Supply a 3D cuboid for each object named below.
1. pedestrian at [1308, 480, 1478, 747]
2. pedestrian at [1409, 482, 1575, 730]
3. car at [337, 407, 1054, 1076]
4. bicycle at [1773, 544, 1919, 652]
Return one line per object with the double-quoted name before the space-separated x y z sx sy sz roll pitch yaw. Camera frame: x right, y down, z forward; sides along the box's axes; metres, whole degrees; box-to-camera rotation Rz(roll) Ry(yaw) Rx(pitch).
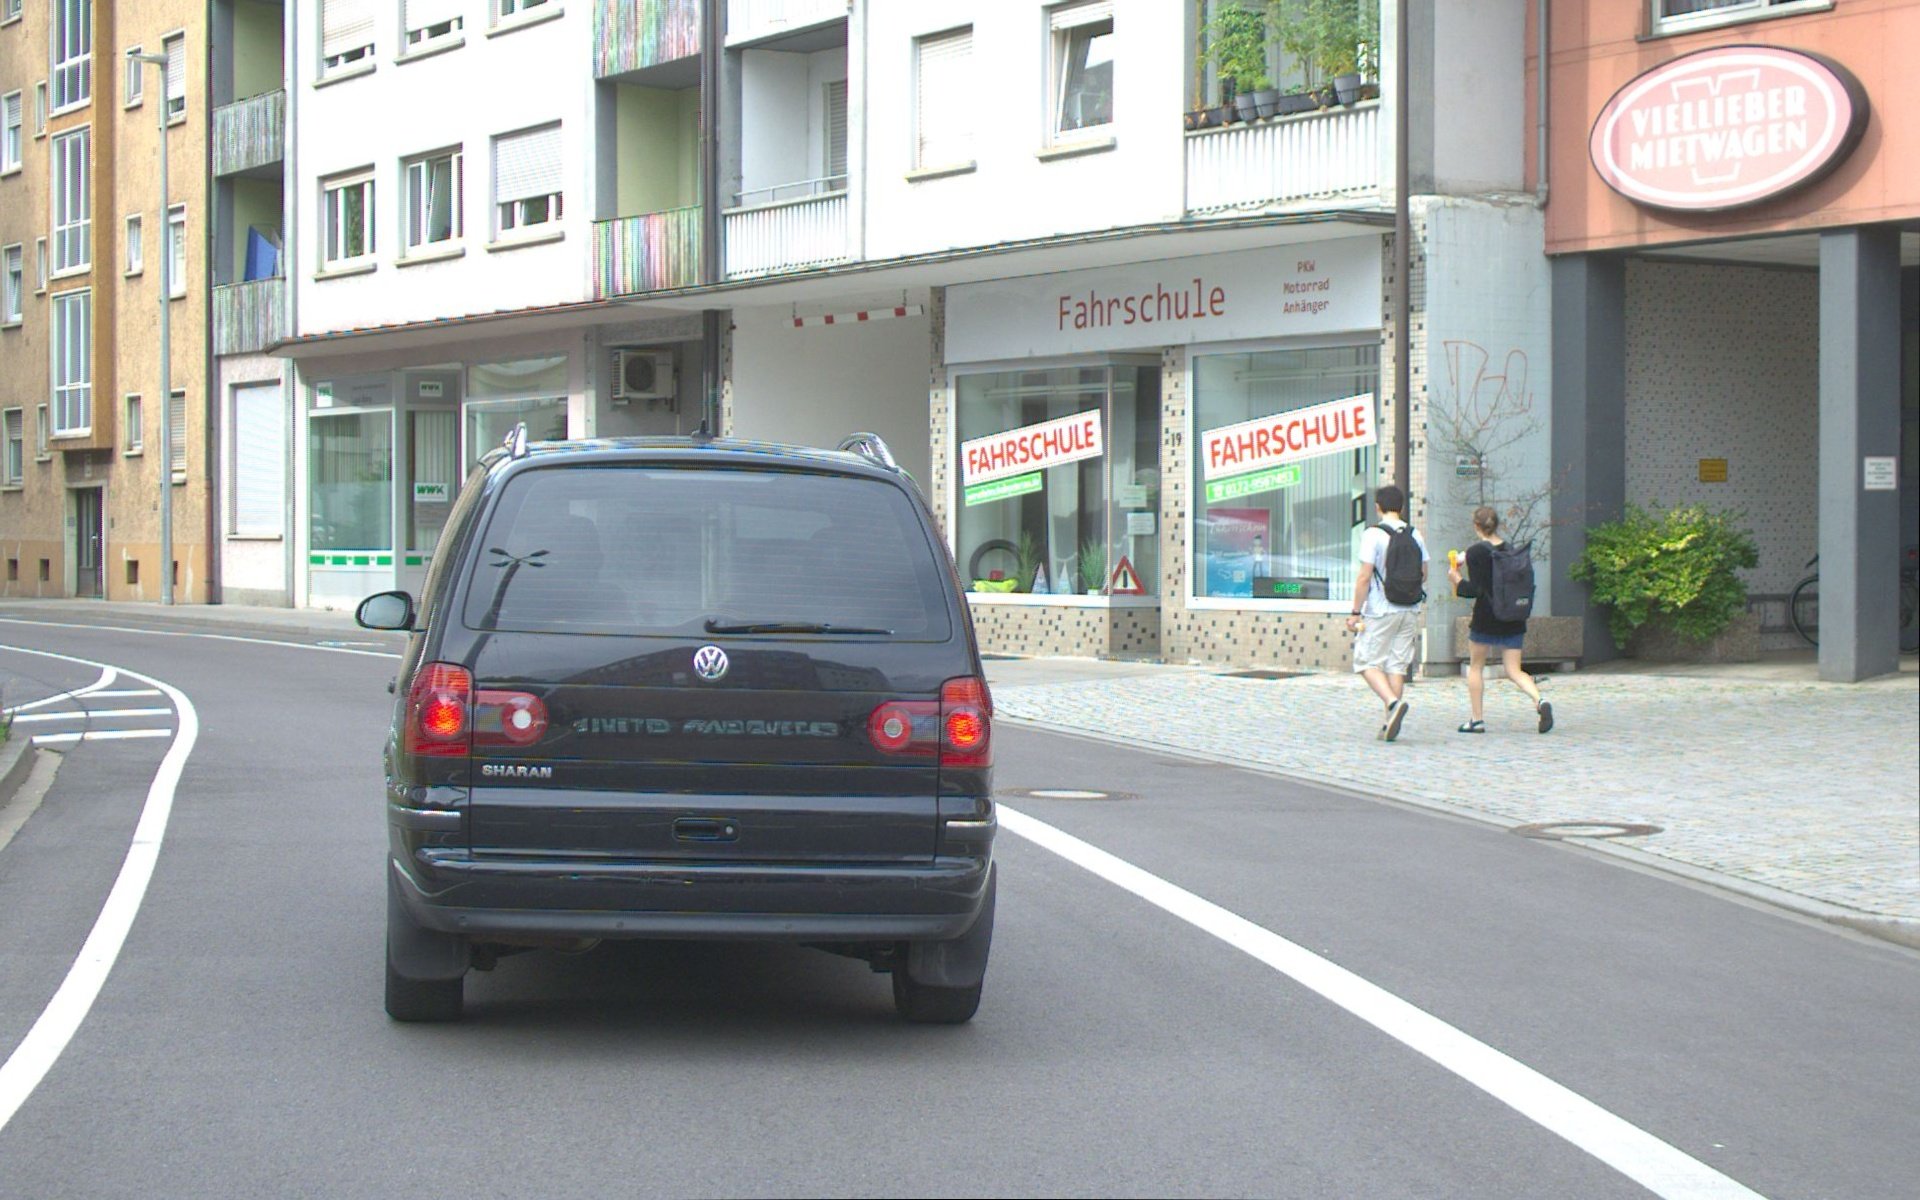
"pedestrian" 2.958 0.075 23.524 0.751 1.744 0.859 -4 3 -23
"pedestrian" 3.703 0.028 23.960 0.604 1.663 0.944 -4 3 -33
"car" -1.025 0.345 11.051 1.812 1.760 3.739 1 1 -11
"bicycle" 7.927 -0.034 30.217 0.452 0.893 1.678 -1 2 -32
